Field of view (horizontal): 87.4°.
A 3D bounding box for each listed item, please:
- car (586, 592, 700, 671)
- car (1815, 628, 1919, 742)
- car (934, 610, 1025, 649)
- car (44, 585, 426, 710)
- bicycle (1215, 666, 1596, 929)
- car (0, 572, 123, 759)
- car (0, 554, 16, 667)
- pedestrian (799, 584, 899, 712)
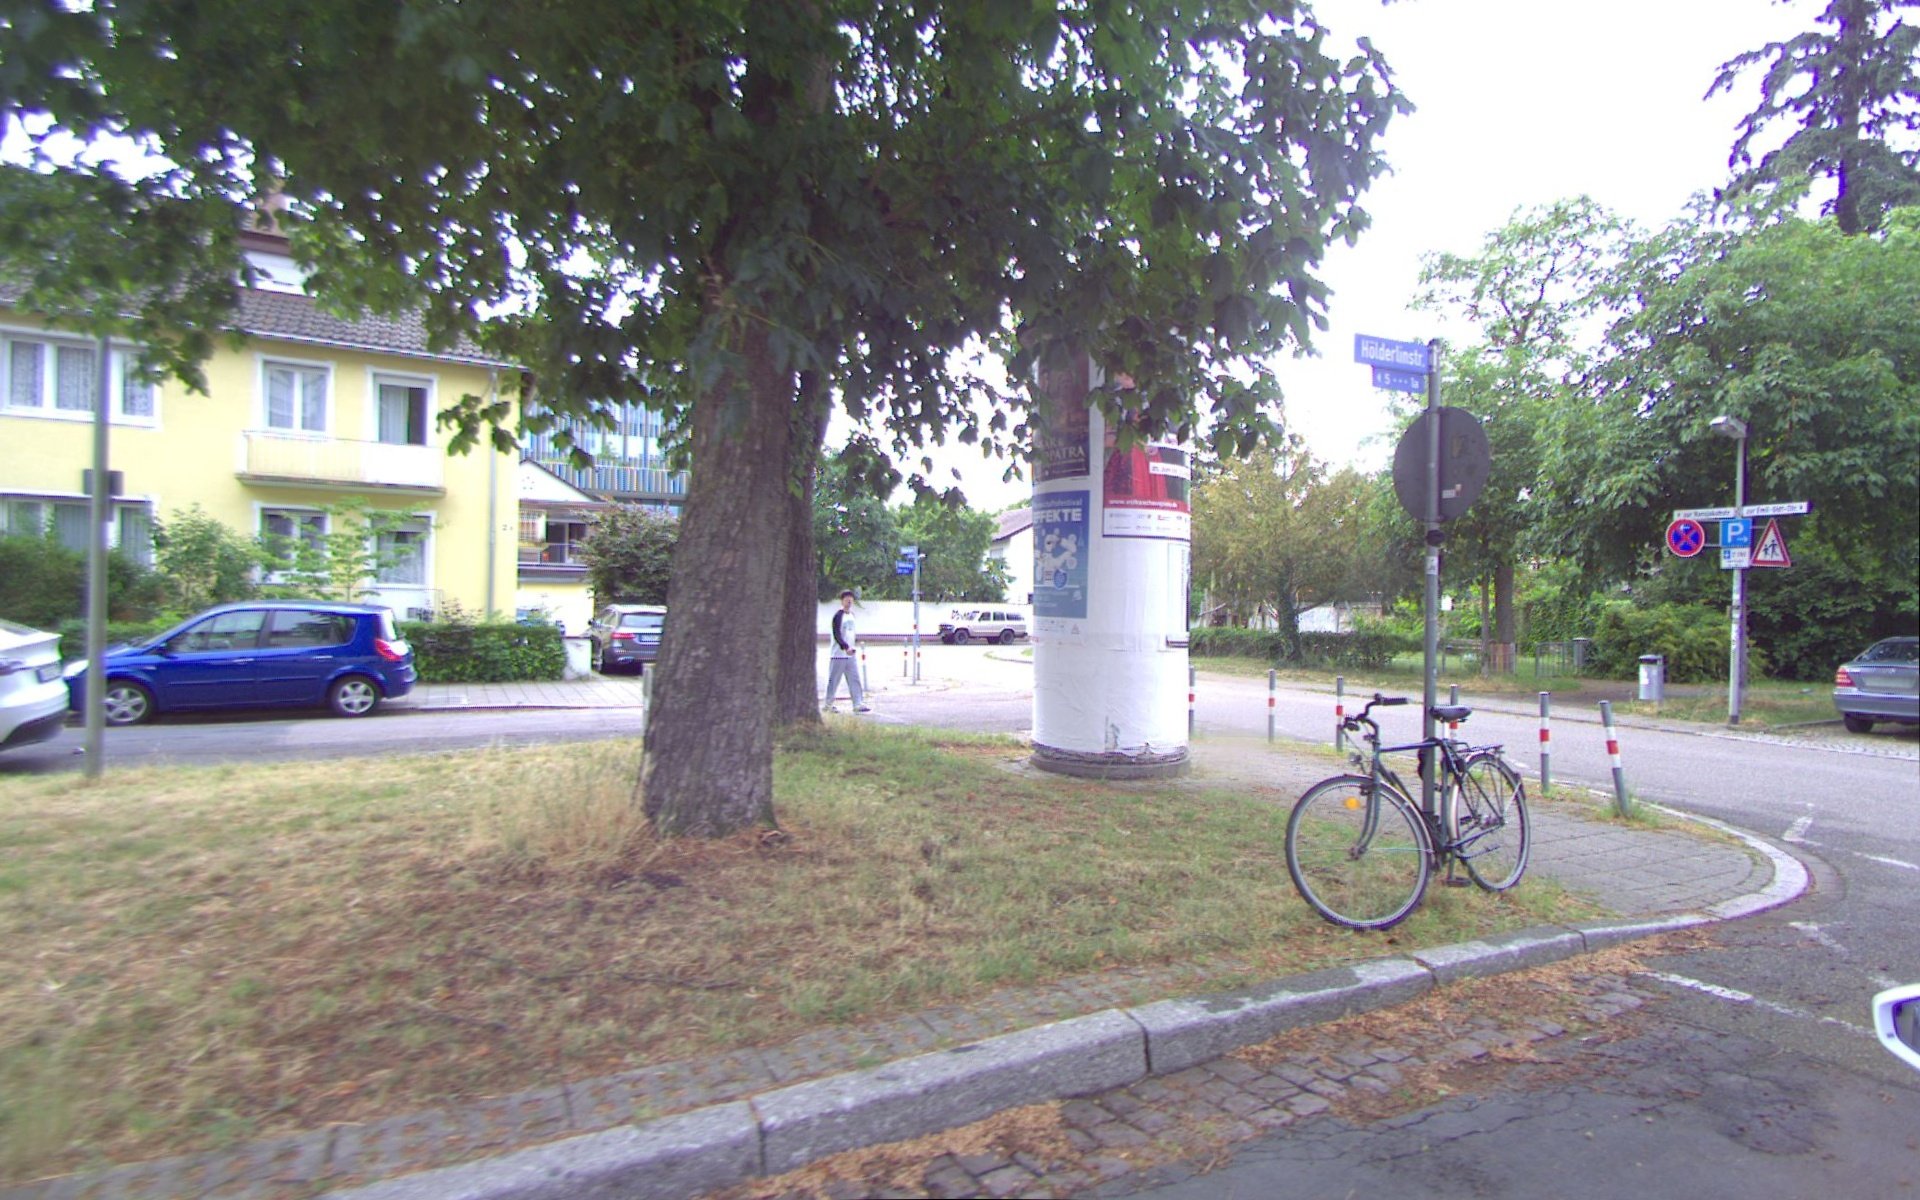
[{"bbox_3d":[-7.264,0.694,22.784,1.820,1.632,3.973,2,-1,-27],"label":"car"},{"bbox_3d":[14.577,1.172,14.659,4.502,1.474,1.668,1,-1,-28],"label":"car"},{"bbox_3d":[1.040,1.565,53.262,4.436,1.884,1.986,1,1,-27],"label":"car"},{"bbox_3d":[-10.118,0.655,14.453,4.153,1.587,1.695,2,0,-25],"label":"car"},{"bbox_3d":[2.214,0.855,4.857,2.157,0.999,0.508,1,1,-31],"label":"bicycle"},{"bbox_3d":[-10.366,0.509,8.406,4.824,1.587,1.889,2,-1,-29],"label":"car"},{"bbox_3d":[-14.592,0.114,12.271,4.116,1.520,1.706,1,1,-29],"label":"car"},{"bbox_3d":[-1.676,0.703,15.235,1.196,1.860,0.878,1,-1,25],"label":"pedestrian"}]
